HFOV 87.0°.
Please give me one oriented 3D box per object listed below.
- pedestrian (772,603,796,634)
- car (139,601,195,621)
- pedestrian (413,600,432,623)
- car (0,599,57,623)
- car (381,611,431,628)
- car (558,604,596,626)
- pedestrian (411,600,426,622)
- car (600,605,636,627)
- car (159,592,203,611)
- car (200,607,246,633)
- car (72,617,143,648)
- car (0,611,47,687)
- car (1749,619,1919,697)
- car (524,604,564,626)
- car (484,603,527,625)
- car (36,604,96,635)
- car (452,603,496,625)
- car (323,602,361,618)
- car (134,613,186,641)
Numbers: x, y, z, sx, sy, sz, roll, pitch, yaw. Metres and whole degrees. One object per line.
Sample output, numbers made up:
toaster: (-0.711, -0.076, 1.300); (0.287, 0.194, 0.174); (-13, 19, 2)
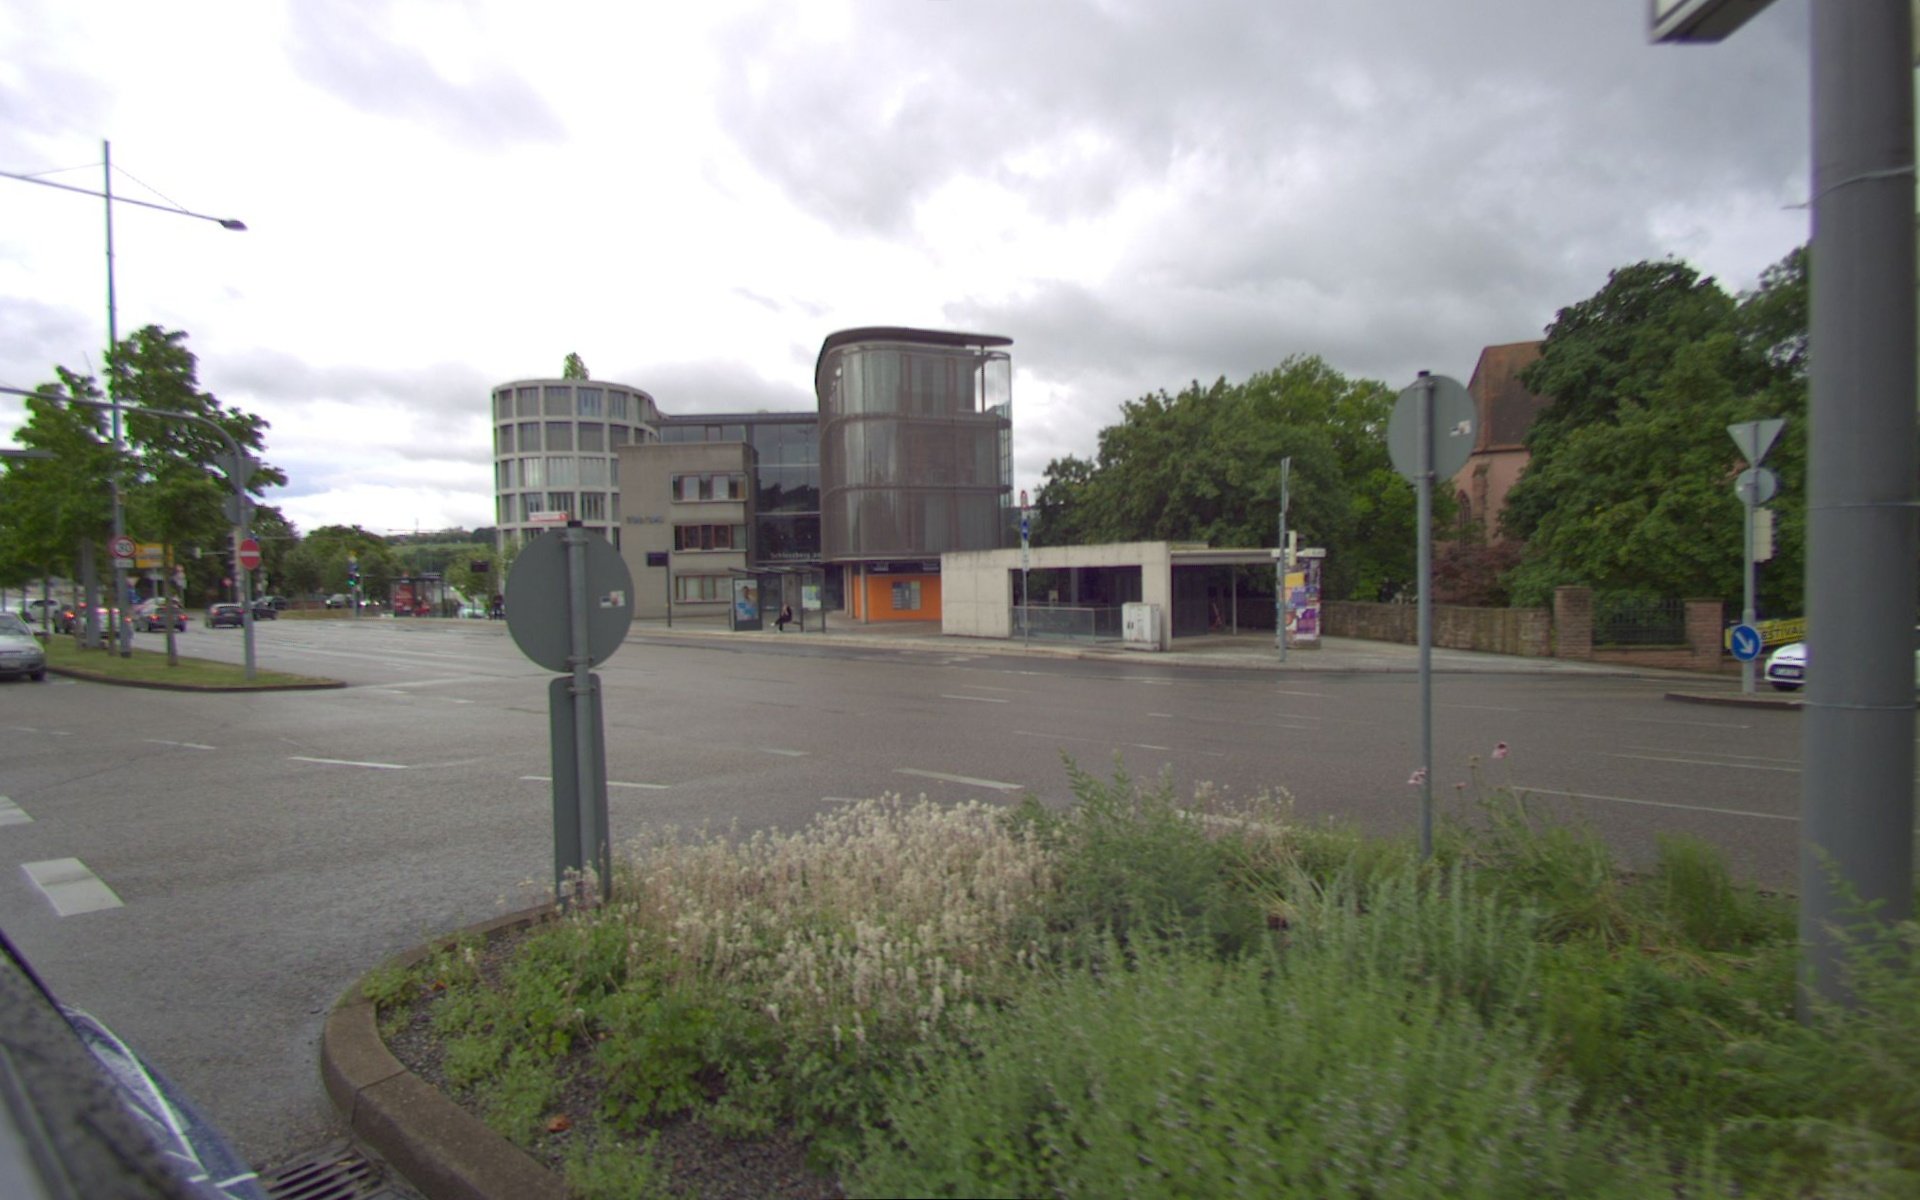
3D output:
pedestrian: (-7.356, 0.773, 42.284); (0.659, 1.309, 0.720); (1, -1, -44)
car: (-65.328, 0.889, 83.442); (1.846, 1.646, 4.166); (0, 0, -10)
pedestrian: (-36.263, 0.762, 68.299); (0.969, 1.501, 0.735); (1, -1, -40)
car: (-64.364, 0.738, 69.315); (1.846, 1.646, 4.296); (1, -1, -12)
car: (-55.390, 1.971, 101.263); (1.944, 1.630, 4.186); (1, -1, 16)
car: (-31.034, 1.180, 82.111); (1.848, 1.715, 4.162); (1, -1, -5)
pedestrian: (-36.907, 0.761, 69.012); (0.722, 1.501, 0.735); (1, -1, -41)
car: (-27.687, 1.265, 82.040); (1.848, 1.715, 4.162); (1, -1, -5)
car: (-60.359, 0.102, 78.398); (3.997, 1.433, 1.936); (0, -1, 40)
car: (-45.591, 1.215, 62.590); (3.864, 1.524, 1.658); (0, -1, 44)
car: (-41.510, 1.540, 49.245); (4.162, 1.363, 1.984); (0, -1, 41)
car: (-20.721, 0.984, 21.307); (3.716, 1.477, 1.678); (0, -1, 39)
car: (17.810, 1.109, 19.595); (3.938, 1.409, 1.637); (1, -1, -6)
car: (-33.500, 1.172, 81.611); (1.848, 1.715, 4.162); (0, 0, -5)
car: (-36.503, 1.145, 81.360); (1.848, 1.715, 4.162); (1, -1, -5)
car: (-47.470, 1.034, 53.704); (4.165, 1.566, 1.983); (0, -1, 43)
car: (-38.979, 1.112, 81.263); (1.848, 1.715, 4.162); (1, -1, -5)
car: (-65.955, 1.052, 108.080); (1.865, 1.726, 4.225); (1, -1, -8)
car: (-45.143, 1.485, 57.082); (4.453, 1.477, 1.676); (0, -1, 44)
